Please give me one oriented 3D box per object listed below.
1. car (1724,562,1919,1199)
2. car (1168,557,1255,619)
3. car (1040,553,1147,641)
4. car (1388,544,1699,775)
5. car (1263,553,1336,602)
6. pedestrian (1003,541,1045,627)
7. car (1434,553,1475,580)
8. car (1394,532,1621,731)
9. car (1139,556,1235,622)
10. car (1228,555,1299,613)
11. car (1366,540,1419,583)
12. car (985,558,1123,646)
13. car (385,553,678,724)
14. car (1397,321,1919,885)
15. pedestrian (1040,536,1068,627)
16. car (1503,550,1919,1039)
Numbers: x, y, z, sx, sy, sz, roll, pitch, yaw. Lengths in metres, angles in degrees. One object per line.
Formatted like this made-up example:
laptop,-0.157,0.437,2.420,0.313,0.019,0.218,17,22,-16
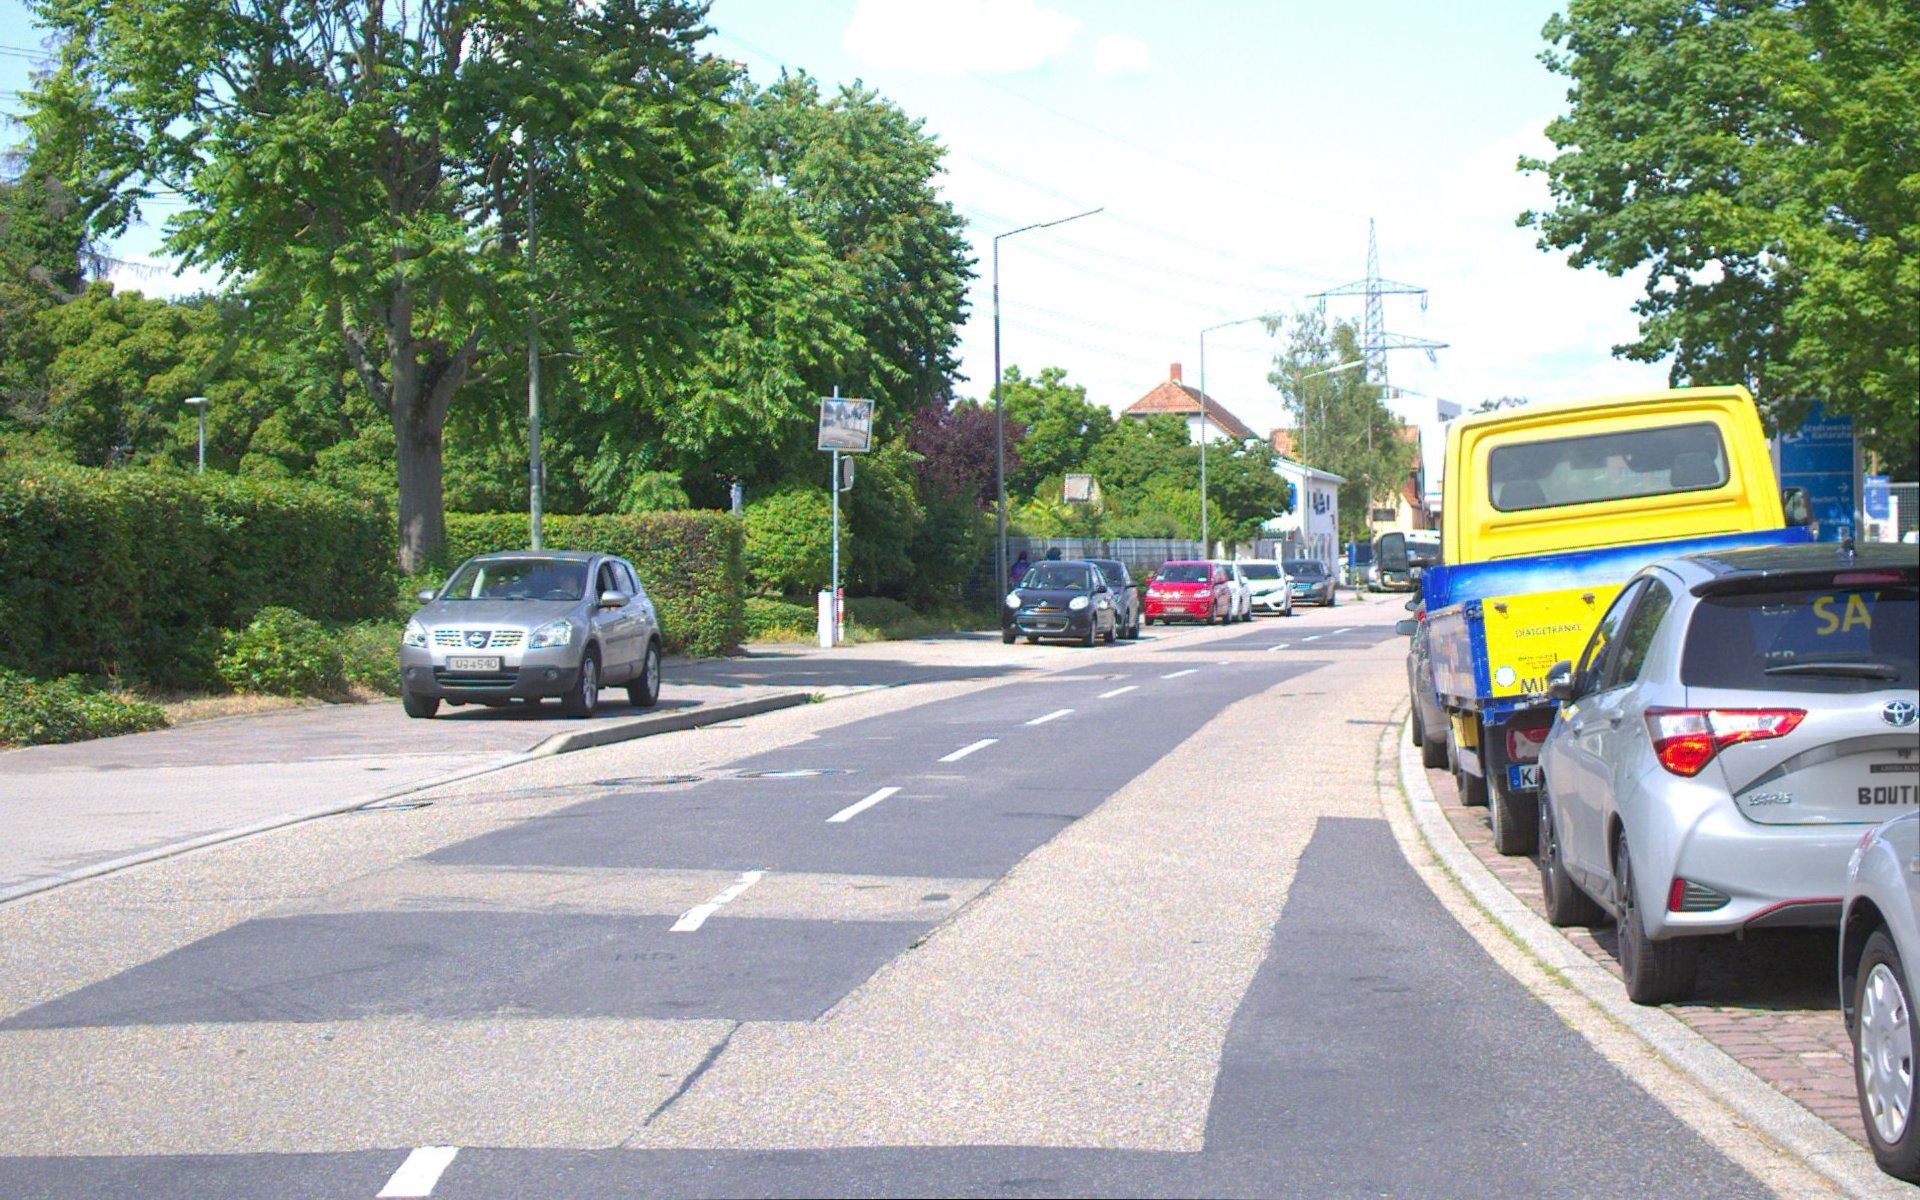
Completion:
car,3.026,0.642,6.836,1.832,1.487,4.656,-2,0,-1
car,6.173,-0.292,84.148,1.646,1.472,4.027,-1,0,11
car,2.653,-0.079,67.686,1.651,1.640,3.272,2,1,10
car,4.310,0.392,26.111,1.875,1.472,5.167,-4,0,6
car,10.365,-0.707,104.707,1.806,1.414,4.494,1,1,10
pedestrian,1.361,-0.333,72.649,0.708,1.795,0.915,-1,0,12
car,26.302,-1.766,182.655,1.797,1.392,4.499,1,0,13
car,5.142,0.254,32.249,1.833,1.602,4.566,-4,0,9
car,5.273,-0.255,79.520,1.667,1.462,3.741,1,0,12
car,8.229,-0.448,93.045,1.621,1.517,4.174,-1,1,9
car,17.778,-1.572,141.180,1.792,1.713,4.749,2,1,12
car,1.759,0.014,63.042,1.846,1.503,3.998,2,1,11
car,-4.121,0.340,33.762,1.758,1.568,4.476,0,0,8
car,3.615,0.001,18.763,2.157,2.456,6.638,-2,0,6
pedestrian,1.982,-0.389,72.604,0.451,1.887,0.677,-1,0,12
car,3.055,0.580,12.651,1.685,1.489,3.948,-2,0,4
